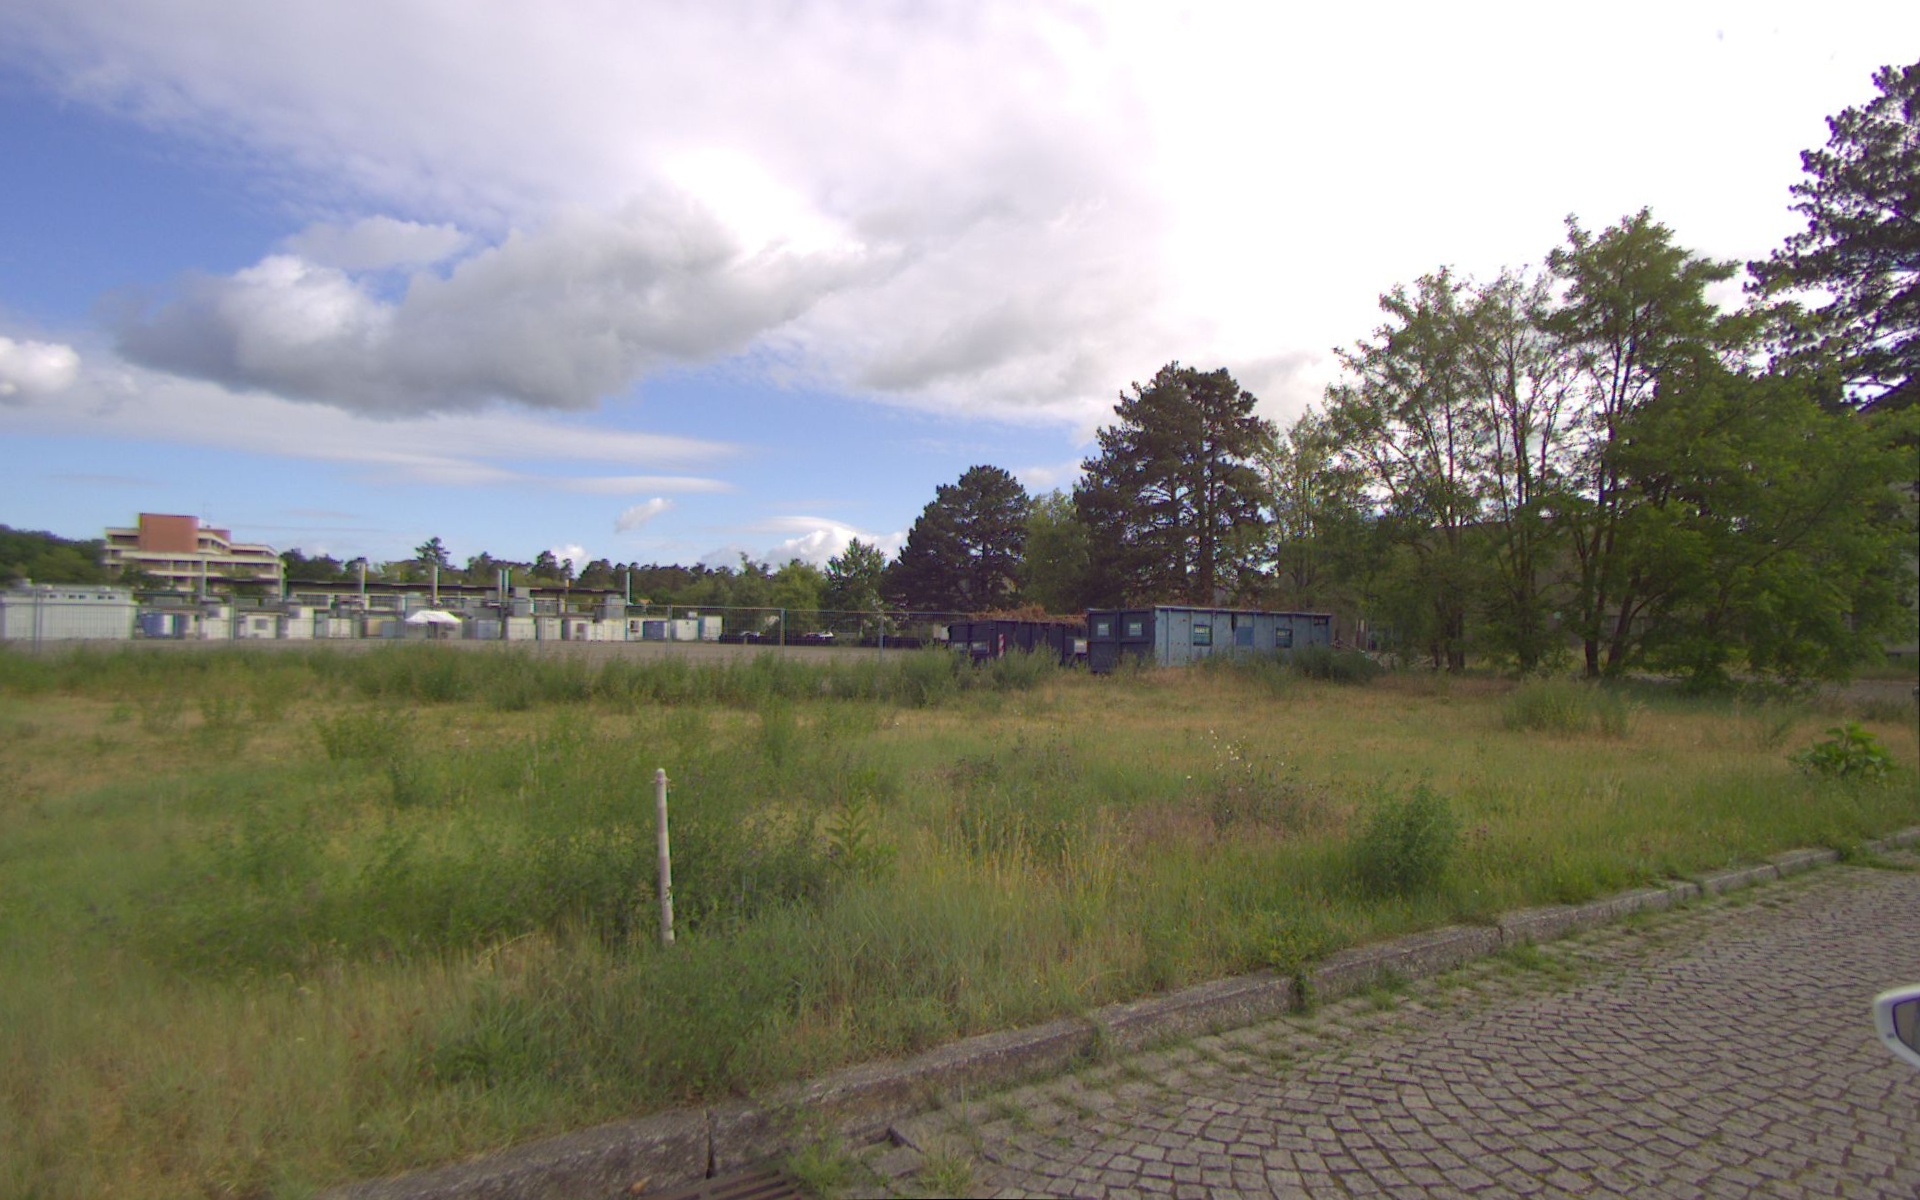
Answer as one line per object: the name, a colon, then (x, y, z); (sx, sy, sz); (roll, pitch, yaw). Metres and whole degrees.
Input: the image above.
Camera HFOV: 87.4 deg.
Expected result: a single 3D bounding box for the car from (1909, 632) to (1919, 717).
car: (18.622, 1.399, 16.819); (1.565, 1.499, 3.681); (2, 1, -33)
